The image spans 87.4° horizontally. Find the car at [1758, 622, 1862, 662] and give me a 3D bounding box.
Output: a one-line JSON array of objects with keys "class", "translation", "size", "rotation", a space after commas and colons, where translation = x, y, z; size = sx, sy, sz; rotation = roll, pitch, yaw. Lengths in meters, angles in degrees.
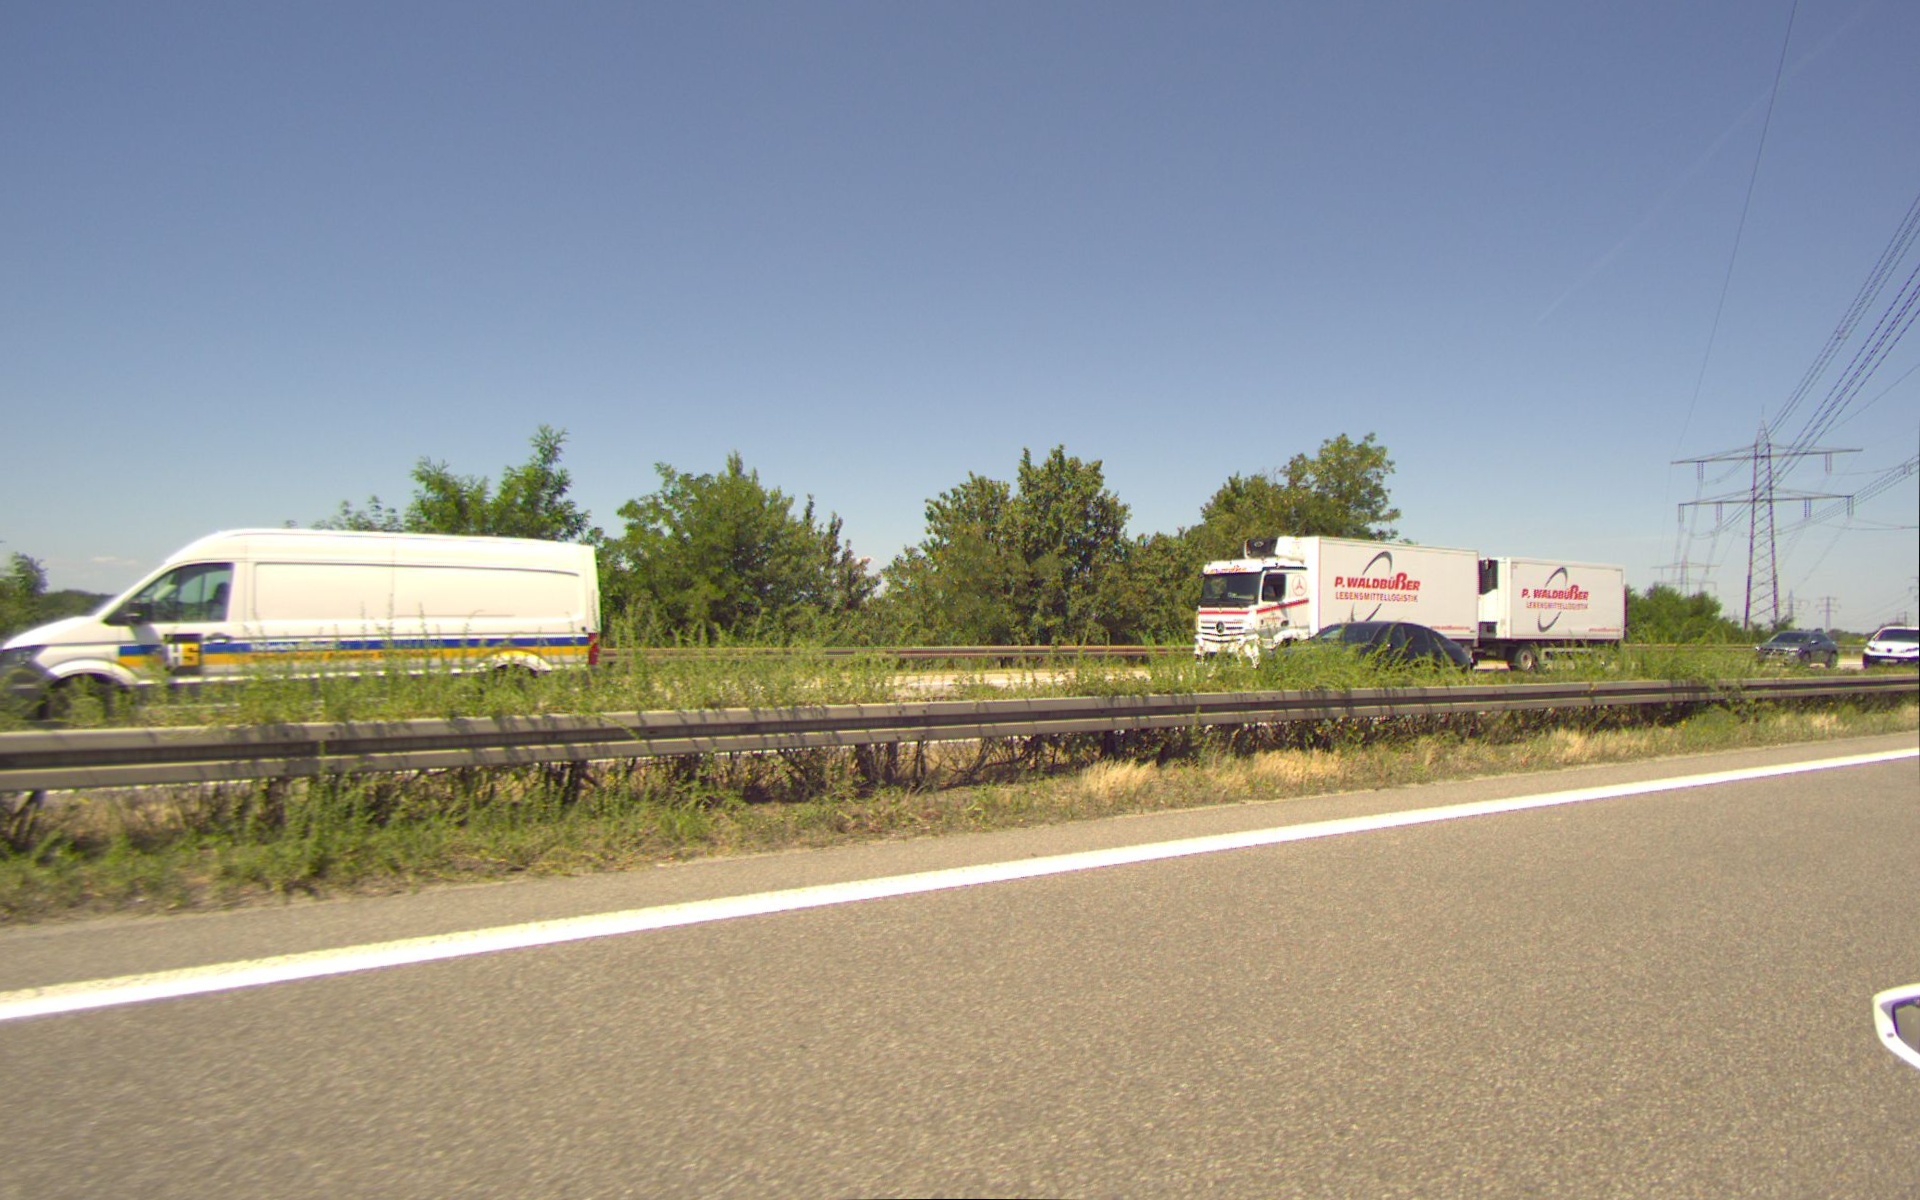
[{"class": "car", "translation": [38.116, 1.850, 45.012], "size": [5.006, 1.607, 1.984], "rotation": [1, 0, -30]}]

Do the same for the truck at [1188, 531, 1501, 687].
[{"class": "truck", "translation": [11.563, 0.289, 29.584], "size": [10.470, 4.003, 2.678], "rotation": [1, 1, -31]}]

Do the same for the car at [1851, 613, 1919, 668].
[{"class": "car", "translation": [38.429, 1.599, 40.541], "size": [5.633, 2.040, 1.984], "rotation": [1, 1, -30]}]

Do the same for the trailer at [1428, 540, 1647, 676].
[{"class": "trailer", "translation": [19.972, 0.302, 34.564], "size": [8.230, 4.220, 2.827], "rotation": [1, 1, -31]}]

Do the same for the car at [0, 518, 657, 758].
[{"class": "car", "translation": [-8.042, 0.452, 13.802], "size": [7.038, 2.614, 2.470], "rotation": [1, 1, -31]}]

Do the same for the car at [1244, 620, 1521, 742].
[{"class": "car", "translation": [8.334, 1.469, 19.637], "size": [5.633, 2.040, 1.984], "rotation": [1, 1, -30]}]
